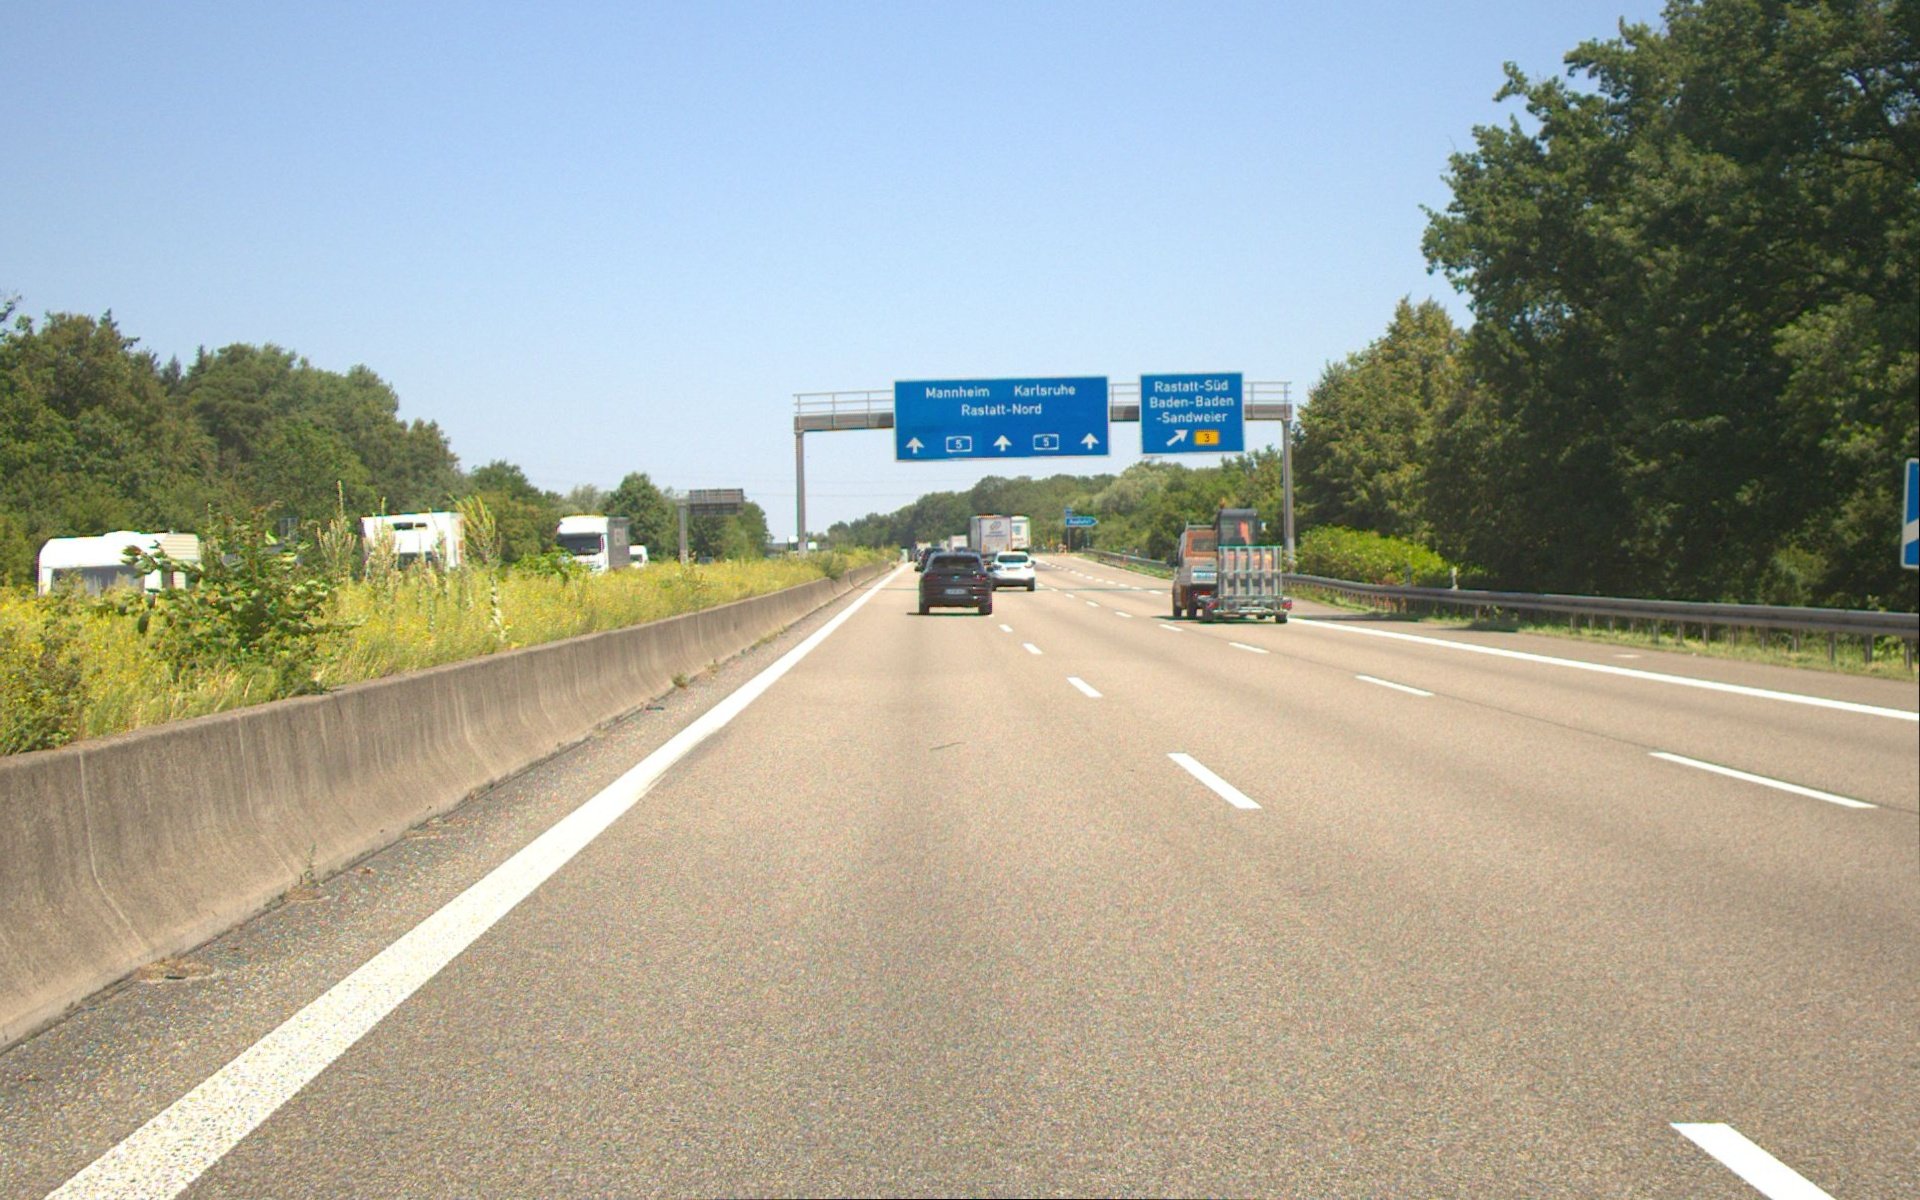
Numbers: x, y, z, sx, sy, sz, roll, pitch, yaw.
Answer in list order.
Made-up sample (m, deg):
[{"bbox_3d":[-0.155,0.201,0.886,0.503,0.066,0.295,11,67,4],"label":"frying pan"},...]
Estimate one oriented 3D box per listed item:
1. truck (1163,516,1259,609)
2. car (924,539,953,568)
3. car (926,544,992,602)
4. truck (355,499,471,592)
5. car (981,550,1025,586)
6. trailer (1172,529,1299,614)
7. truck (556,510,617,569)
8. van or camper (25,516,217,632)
[{"bbox_3d":[6.489,-0.998,89.363,1.993,2.365,4.645,0,1,-2],"label":"truck"},{"bbox_3d":[-1.576,-3.390,250.881,1.993,2.007,4.000,-2,0,-1],"label":"car"},{"bbox_3d":[-0.055,-0.744,94.789,1.660,1.544,3.783,-1,1,-2],"label":"car"},{"bbox_3d":[-14.117,-1.378,89.087,2.310,2.318,6.080,0,0,-3],"label":"truck"},{"bbox_3d":[1.784,-1.338,144.075,1.740,1.481,4.000,0,1,-1],"label":"car"},{"bbox_3d":[6.685,-0.729,84.011,2.420,2.007,6.034,0,1,-2],"label":"trailer"},{"bbox_3d":[-19.703,-3.192,181.681,2.642,3.073,5.848,0,1,-1],"label":"truck"},{"bbox_3d":[-15.200,-0.477,62.602,2.221,2.007,5.888,0,0,-2],"label":"van or camper"}]
